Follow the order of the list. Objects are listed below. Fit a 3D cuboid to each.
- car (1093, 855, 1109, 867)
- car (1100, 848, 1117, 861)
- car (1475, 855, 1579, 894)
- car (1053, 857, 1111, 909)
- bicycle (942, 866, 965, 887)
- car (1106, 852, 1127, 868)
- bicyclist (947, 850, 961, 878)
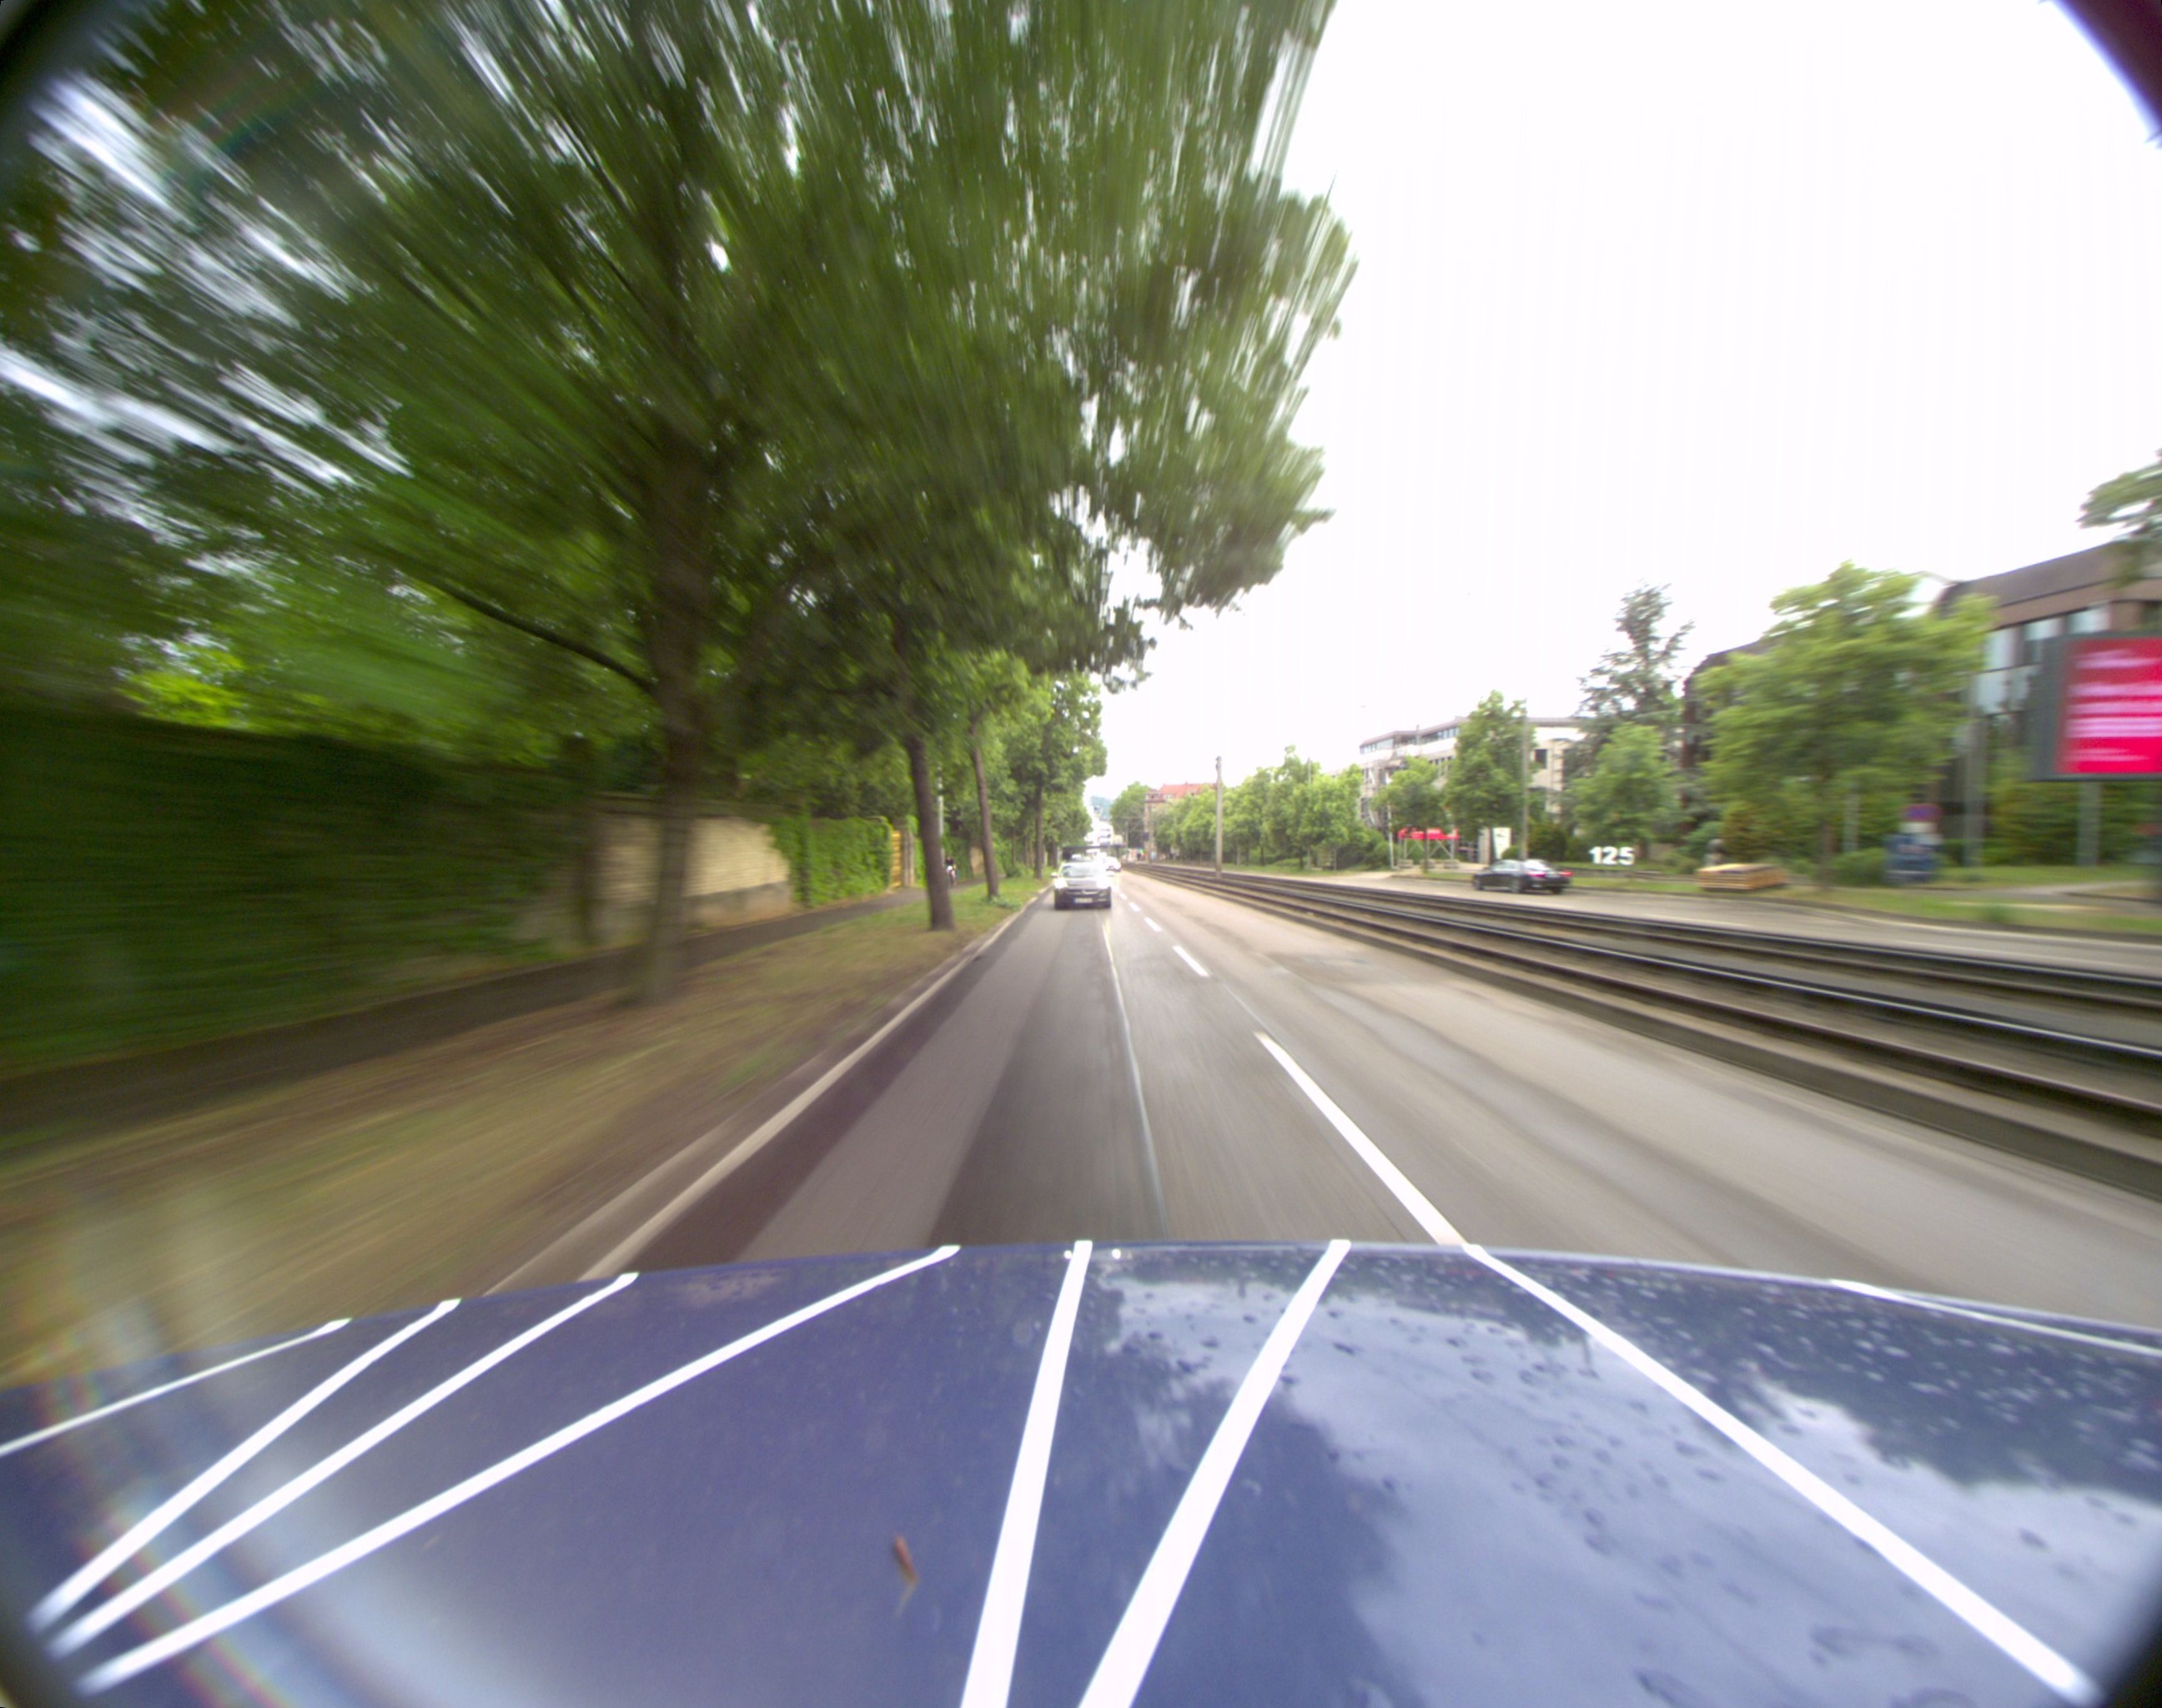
[{"bbox_3d":[3.321,1.135,125.848,2.000,1.801,3.997,-2,0,-7],"label":"car"},{"bbox_3d":[3.187,0.098,89.103,1.807,1.483,4.102,0,0,-1],"label":"car"},{"bbox_3d":[19.473,0.838,33.461,1.799,1.521,4.620,0,1,-1],"label":"car"},{"bbox_3d":[0.011,0.853,23.746,1.658,1.483,3.829,0,0,-1],"label":"car"},{"bbox_3d":[-6.182,1.076,36.941,0.544,0.942,2.550,0,0,3],"label":"bicycle"},{"bbox_3d":[3.447,0.555,73.618,1.807,1.483,4.102,0,0,-1],"label":"car"},{"bbox_3d":[-6.168,0.475,36.855,0.536,1.381,0.666,0,1,3],"label":"bicyclist"}]
